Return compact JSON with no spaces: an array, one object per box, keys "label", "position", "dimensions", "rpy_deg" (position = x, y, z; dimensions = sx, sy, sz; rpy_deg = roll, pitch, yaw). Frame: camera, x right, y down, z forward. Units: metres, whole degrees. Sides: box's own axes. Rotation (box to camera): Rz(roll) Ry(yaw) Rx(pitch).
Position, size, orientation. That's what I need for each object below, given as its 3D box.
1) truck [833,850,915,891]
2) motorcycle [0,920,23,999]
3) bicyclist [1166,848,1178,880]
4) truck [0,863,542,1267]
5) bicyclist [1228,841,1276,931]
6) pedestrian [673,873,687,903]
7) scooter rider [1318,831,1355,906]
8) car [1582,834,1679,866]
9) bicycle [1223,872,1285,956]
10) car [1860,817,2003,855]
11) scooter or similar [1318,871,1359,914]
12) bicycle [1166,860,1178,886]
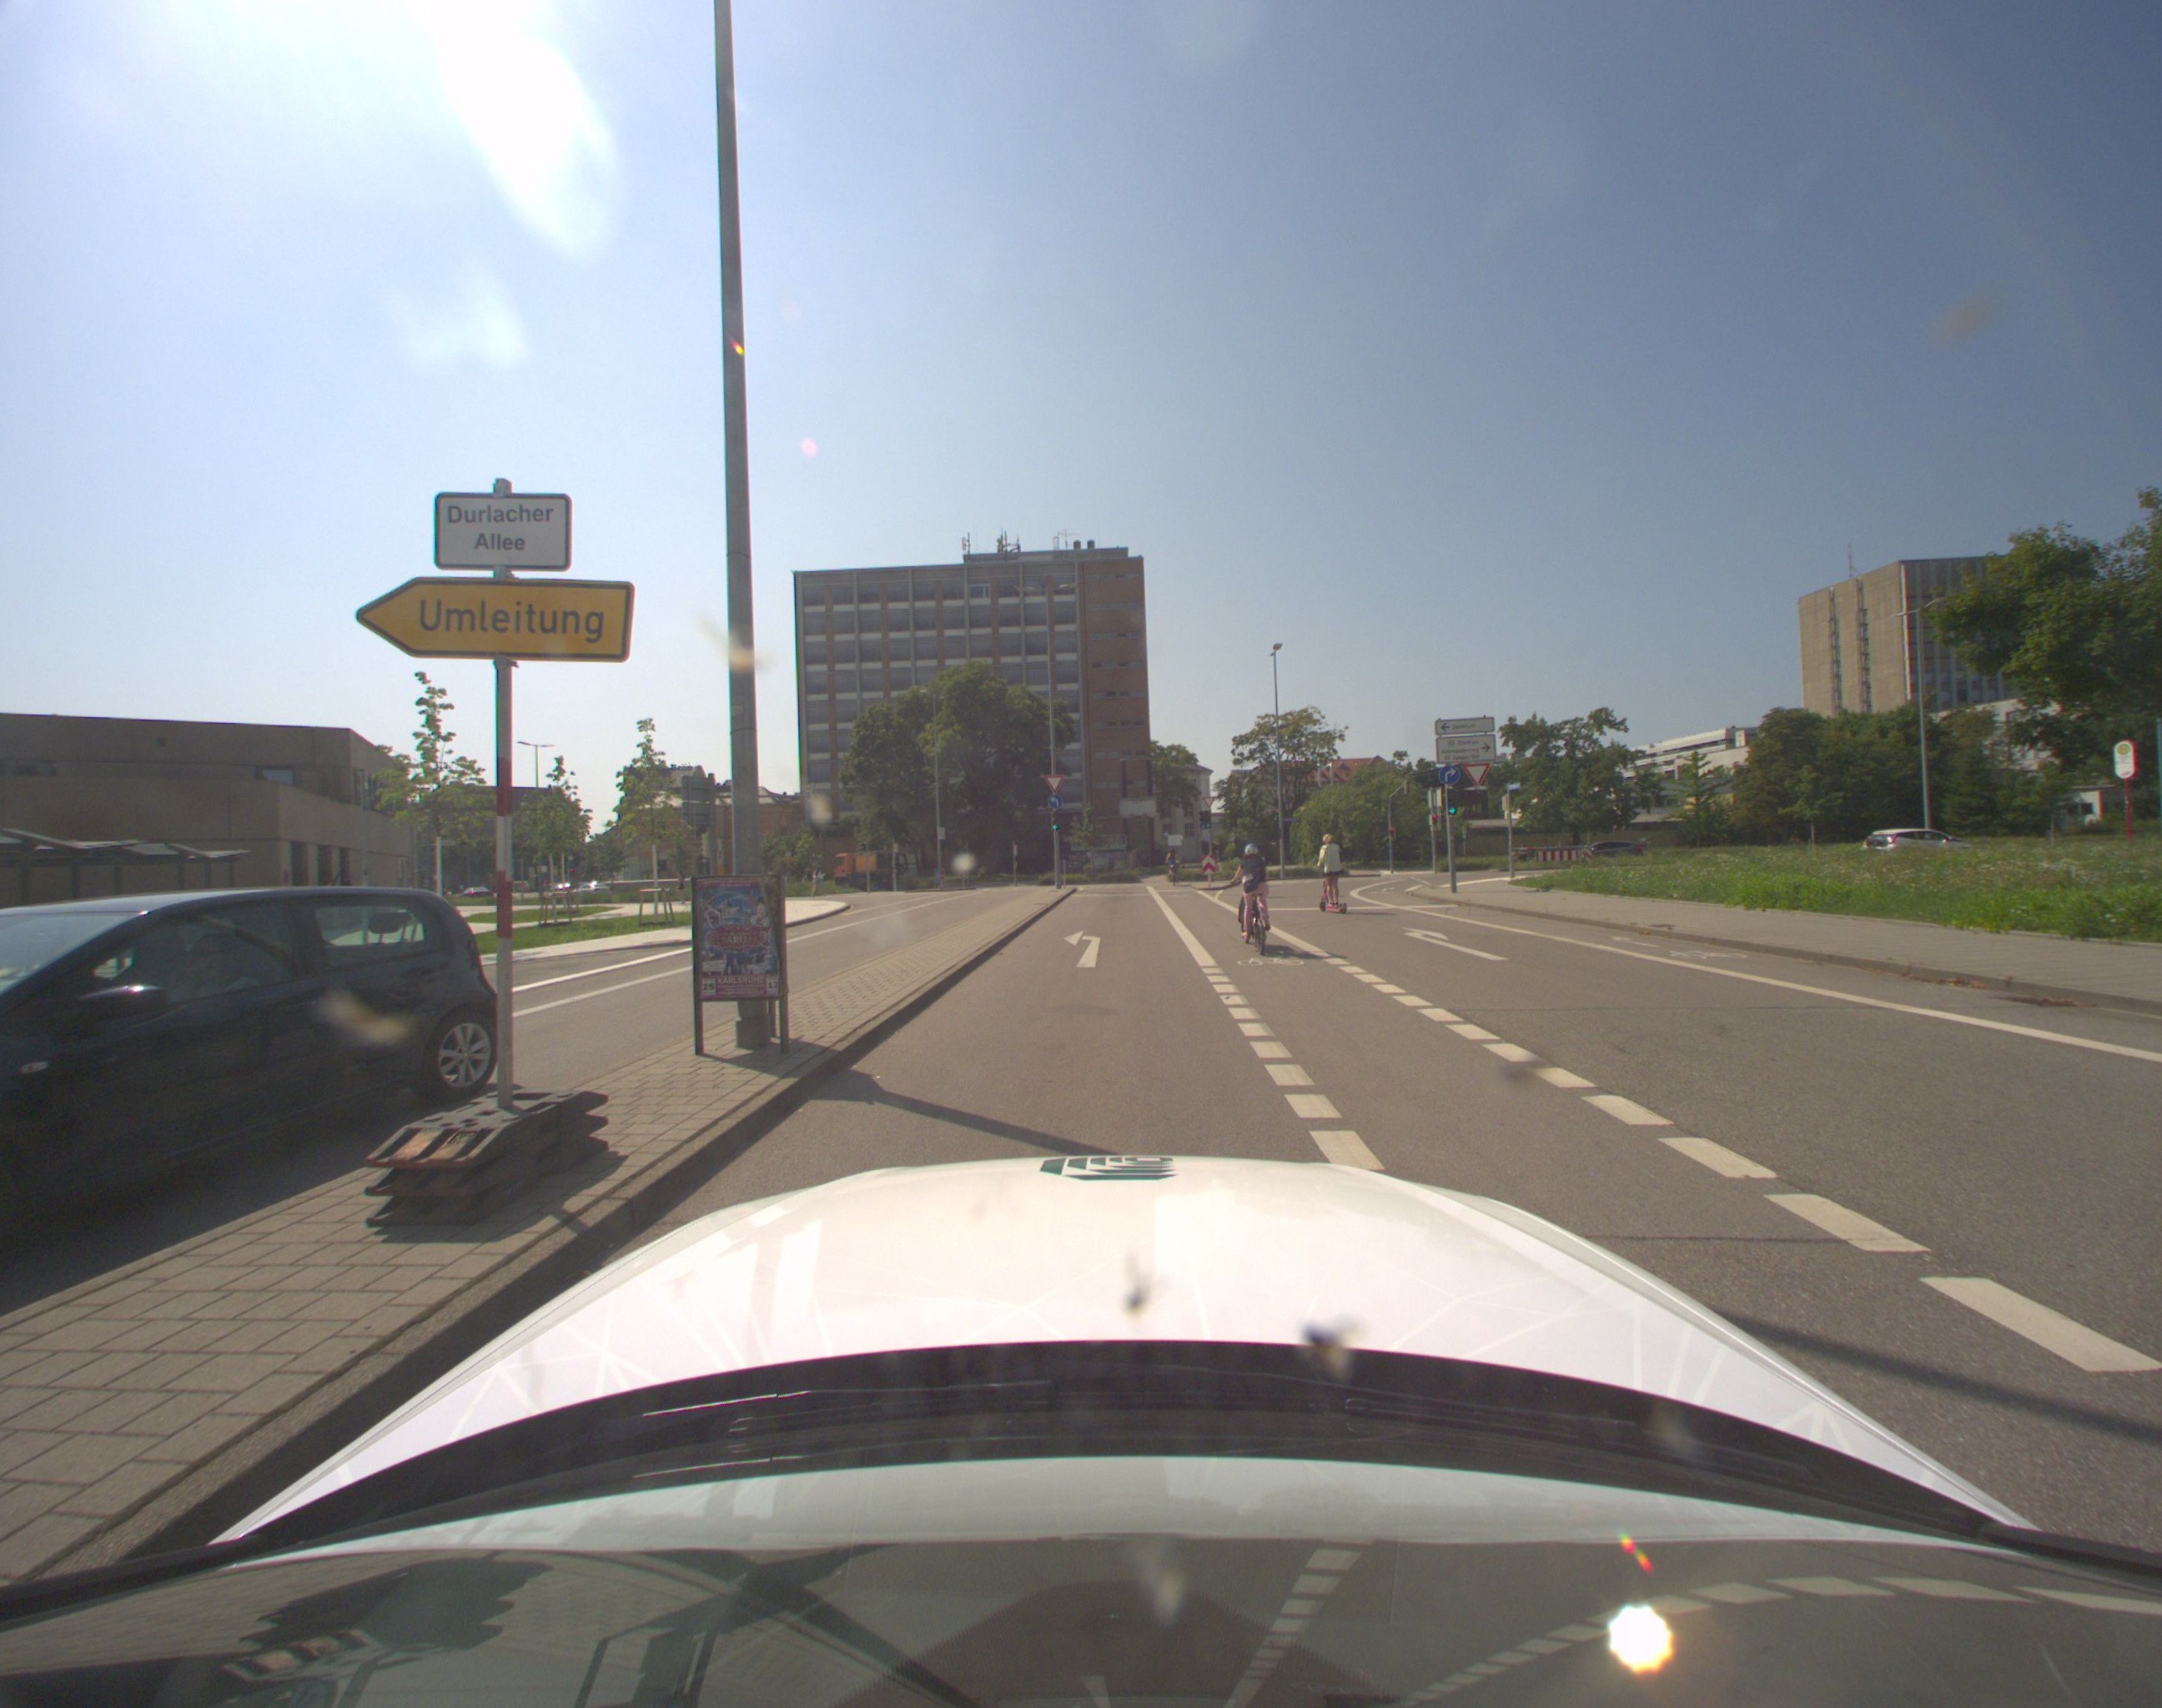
[{"label":"truck","position":[-16.018,1.281,62.982],"dimensions":[5.889,2.990,2.722],"rpy_deg":[-2,-1,31]},{"label":"motorcycle","position":[-16.859,1.653,11.902],"dimensions":[0.606,1.210,2.237],"rpy_deg":[-2,0,-21]},{"label":"bicyclist","position":[4.056,0.439,36.354],"dimensions":[0.447,1.421,0.497],"rpy_deg":[-3,0,7]},{"label":"truck","position":[-4.860,0.856,4.196],"dimensions":[1.548,1.504,3.623],"rpy_deg":[-3,0,3]},{"label":"bicyclist","position":[2.643,0.485,12.622],"dimensions":[0.600,1.335,0.660],"rpy_deg":[-2,0,4]},{"label":"pedestrian","position":[-20.959,1.768,42.555],"dimensions":[0.534,1.552,0.411],"rpy_deg":[-2,0,-43]},{"label":"scooter rider","position":[6.199,0.355,19.772],"dimensions":[0.757,1.775,0.557],"rpy_deg":[-2,0,12]},{"label":"car","position":[29.712,-0.213,44.146],"dimensions":[3.968,1.565,1.826],"rpy_deg":[-3,0,5]},{"label":"bicycle","position":[2.666,0.891,12.702],"dimensions":[0.601,1.163,1.811],"rpy_deg":[-2,0,2]},{"label":"car","position":[36.304,-0.734,34.852],"dimensions":[3.966,1.391,1.852],"rpy_deg":[-3,0,6]},{"label":"scooter or similar","position":[6.246,0.917,19.810],"dimensions":[0.767,0.926,1.625],"rpy_deg":[-2,0,12]},{"label":"bicycle","position":[4.055,0.841,36.236],"dimensions":[0.442,1.116,1.449],"rpy_deg":[-3,0,7]}]
